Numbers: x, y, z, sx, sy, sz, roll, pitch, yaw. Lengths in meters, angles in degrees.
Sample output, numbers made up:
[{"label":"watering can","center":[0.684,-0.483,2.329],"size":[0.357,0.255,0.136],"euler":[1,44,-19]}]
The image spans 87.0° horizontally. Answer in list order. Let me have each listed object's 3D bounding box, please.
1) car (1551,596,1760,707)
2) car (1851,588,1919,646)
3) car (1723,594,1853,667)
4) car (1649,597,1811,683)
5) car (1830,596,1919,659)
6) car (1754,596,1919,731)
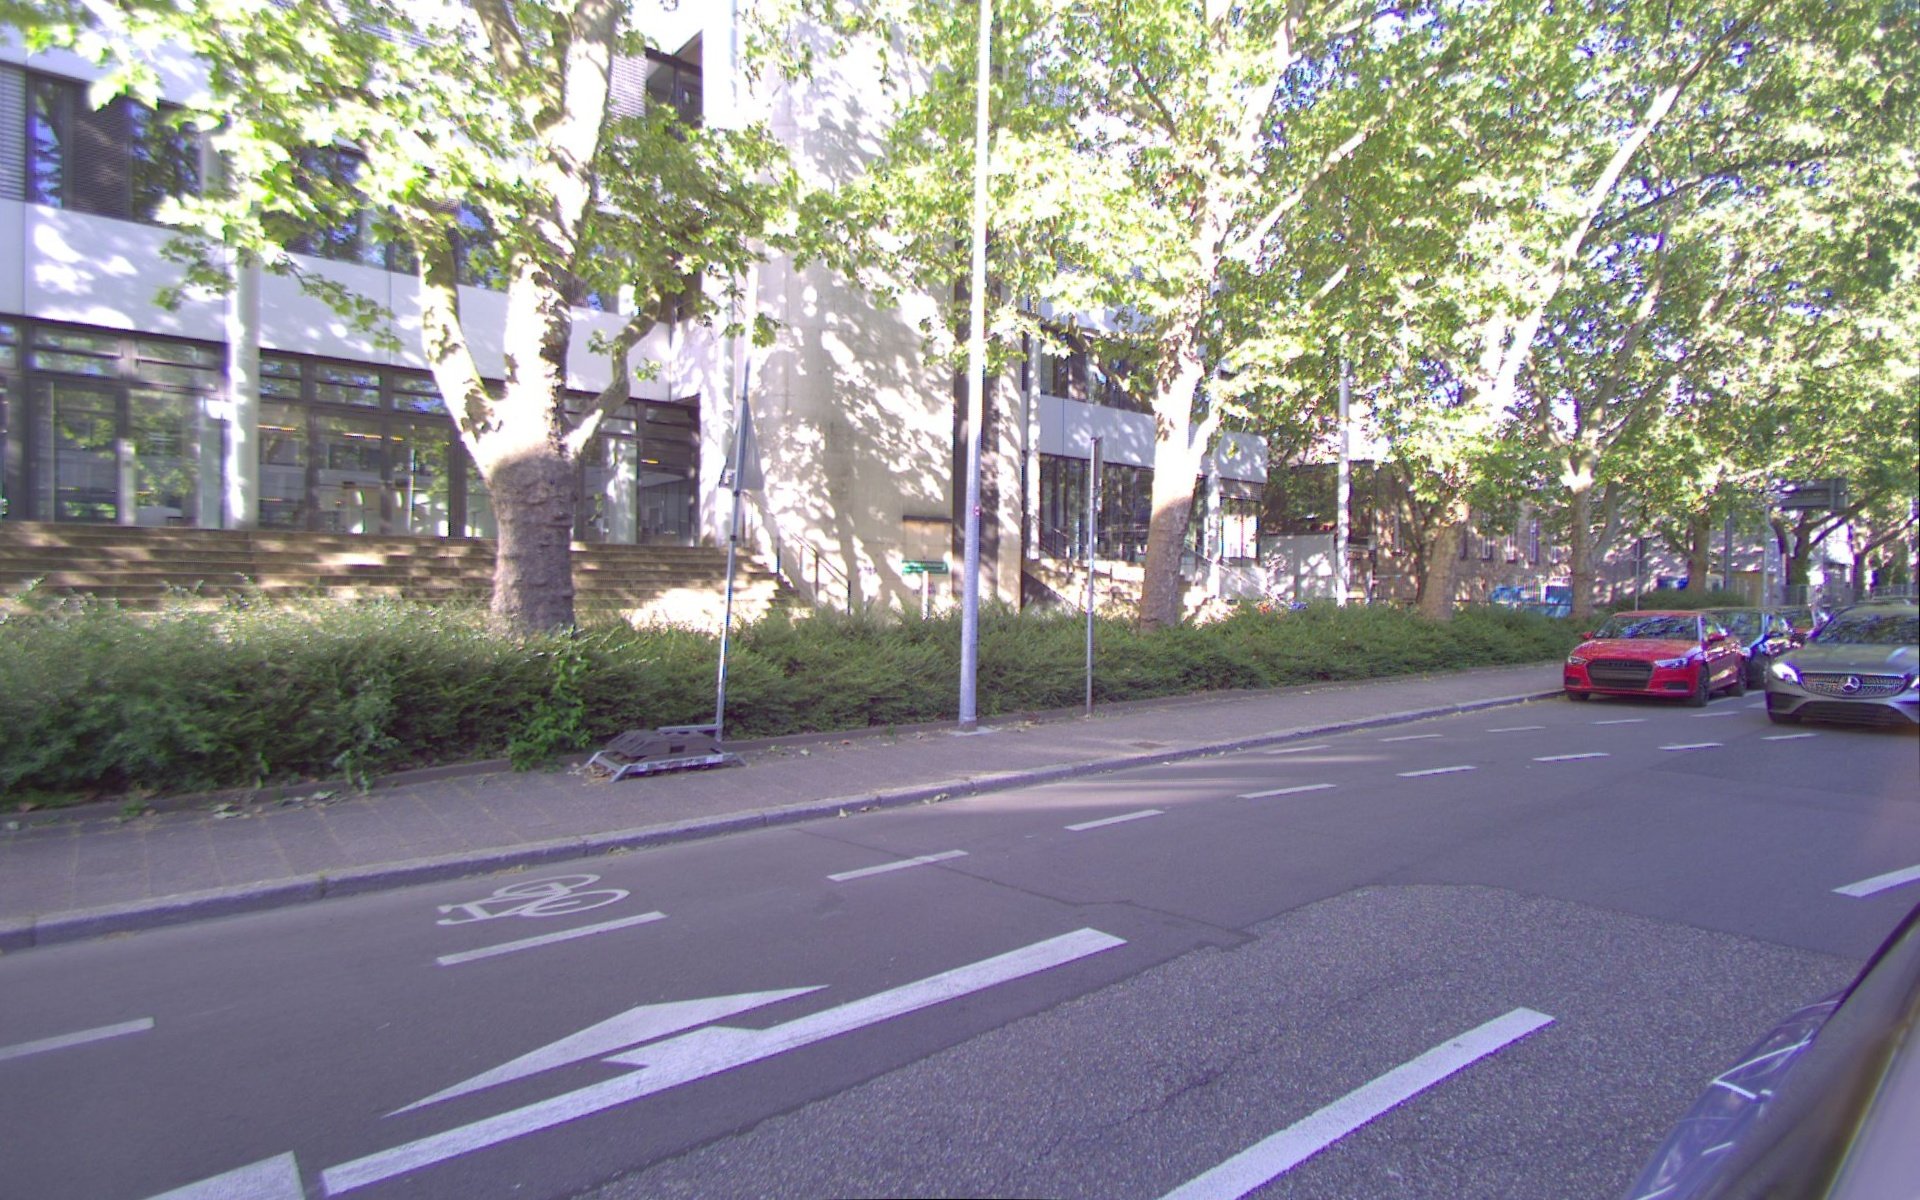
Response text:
[{"label":"car","center":[11.175,0.734,16.159],"size":[4.071,1.548,1.827],"euler":[0,-1,-42]},{"label":"car","center":[29.426,0.492,31.869],"size":[3.840,1.708,1.633],"euler":[0,1,-42]},{"label":"car","center":[18.737,0.649,22.857],"size":[3.851,1.511,1.679],"euler":[0,-1,-42]},{"label":"car","center":[14.938,0.707,19.567],"size":[4.022,1.472,1.739],"euler":[0,-1,-42]},{"label":"car","center":[26.093,0.714,28.639],"size":[4.022,1.653,1.739],"euler":[0,1,-42]},{"label":"car","center":[12.036,0.692,12.851],"size":[4.582,1.483,1.918],"euler":[0,-1,-37]}]
